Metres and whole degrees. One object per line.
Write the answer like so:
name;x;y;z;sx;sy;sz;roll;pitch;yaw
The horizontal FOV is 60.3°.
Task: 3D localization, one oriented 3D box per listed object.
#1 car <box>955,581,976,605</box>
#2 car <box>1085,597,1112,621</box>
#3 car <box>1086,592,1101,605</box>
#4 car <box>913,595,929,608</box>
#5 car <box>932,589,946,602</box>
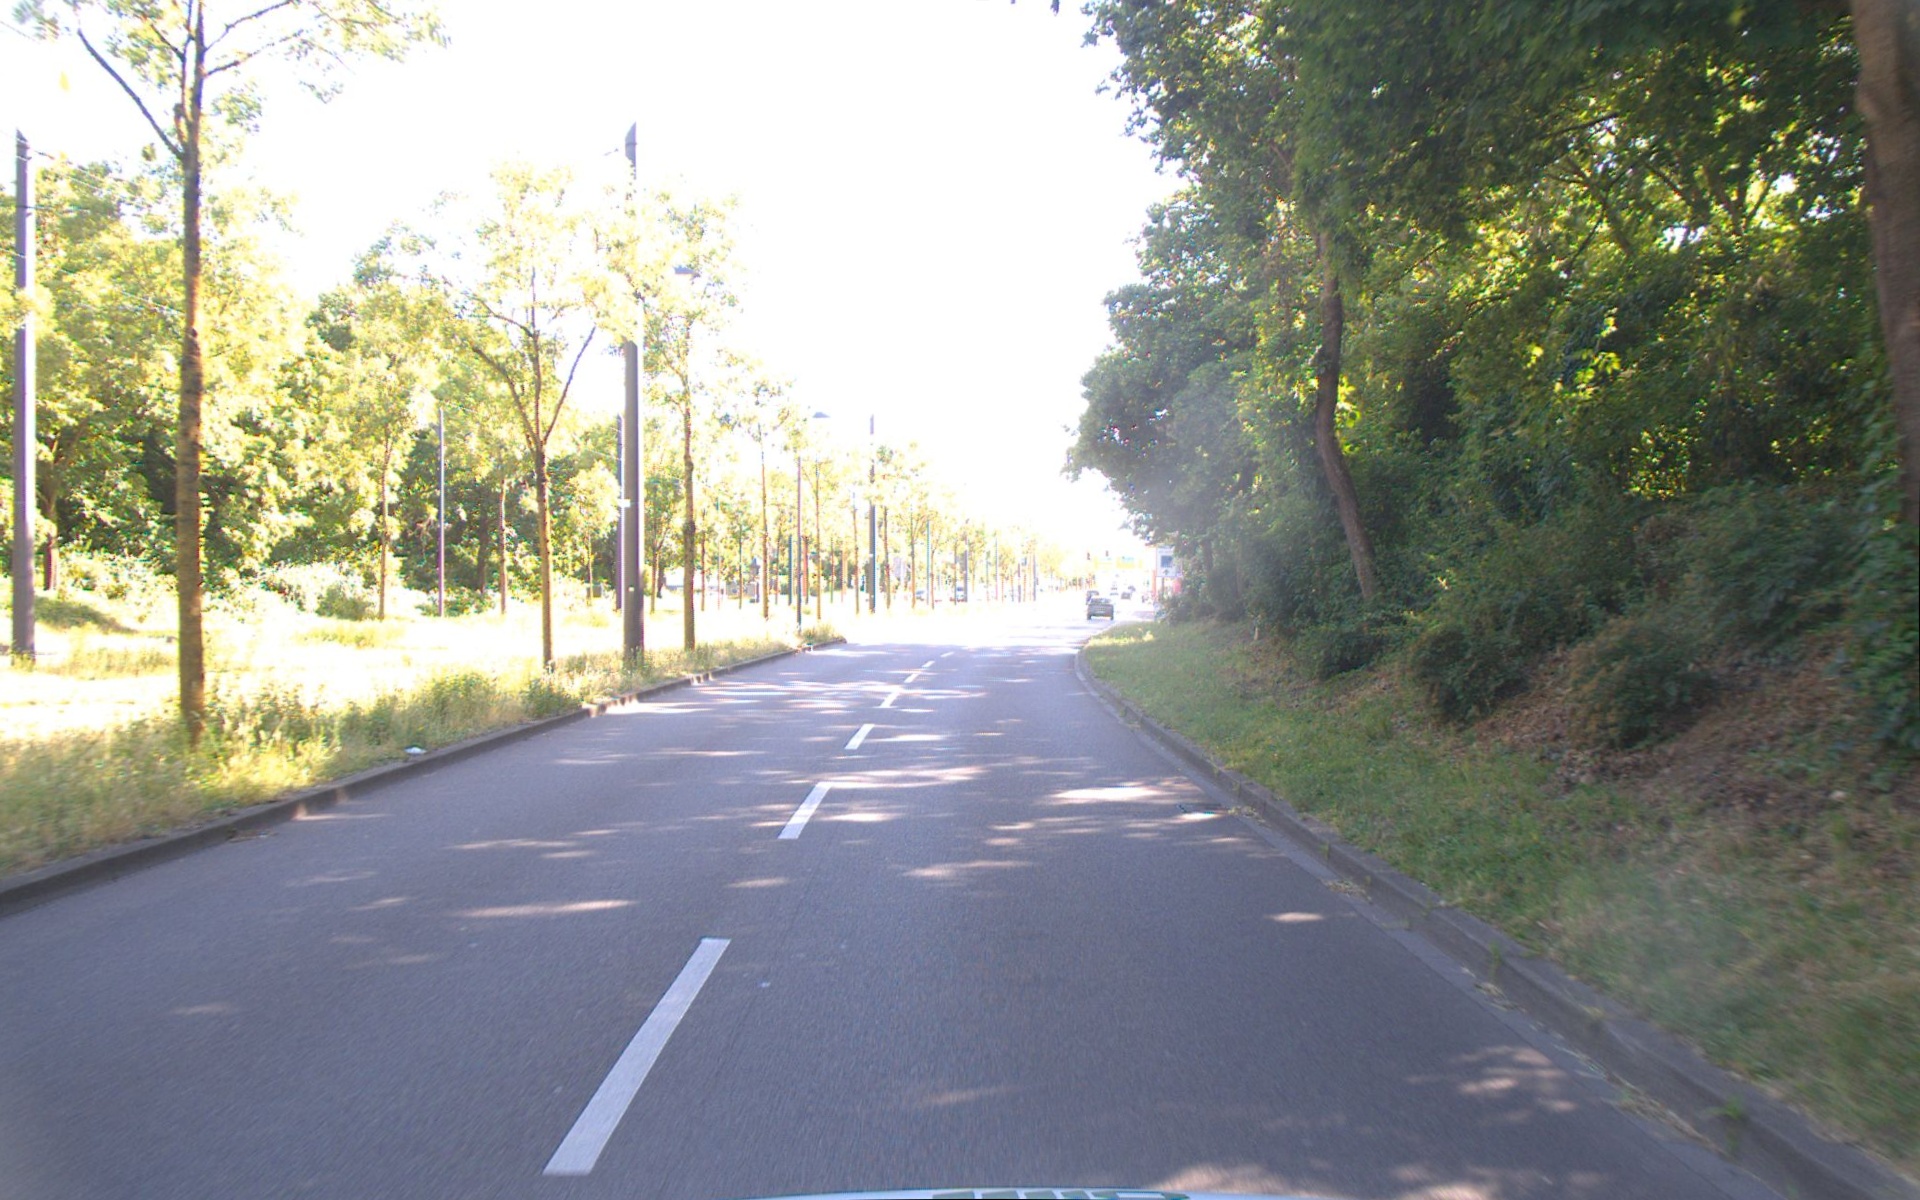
car;0.840;-0.912;233.752;2.413;3.296;6.138;1;0;5
car;9.043;0.589;107.830;1.599;1.524;4.238;1;0;7
car;15.920;-0.161;196.838;1.599;1.524;4.238;1;0;7
car;-4.966;0.195;211.138;1.596;1.710;4.194;1;0;5
car;-2.912;-0.589;229.067;1.596;1.710;4.194;1;0;5
